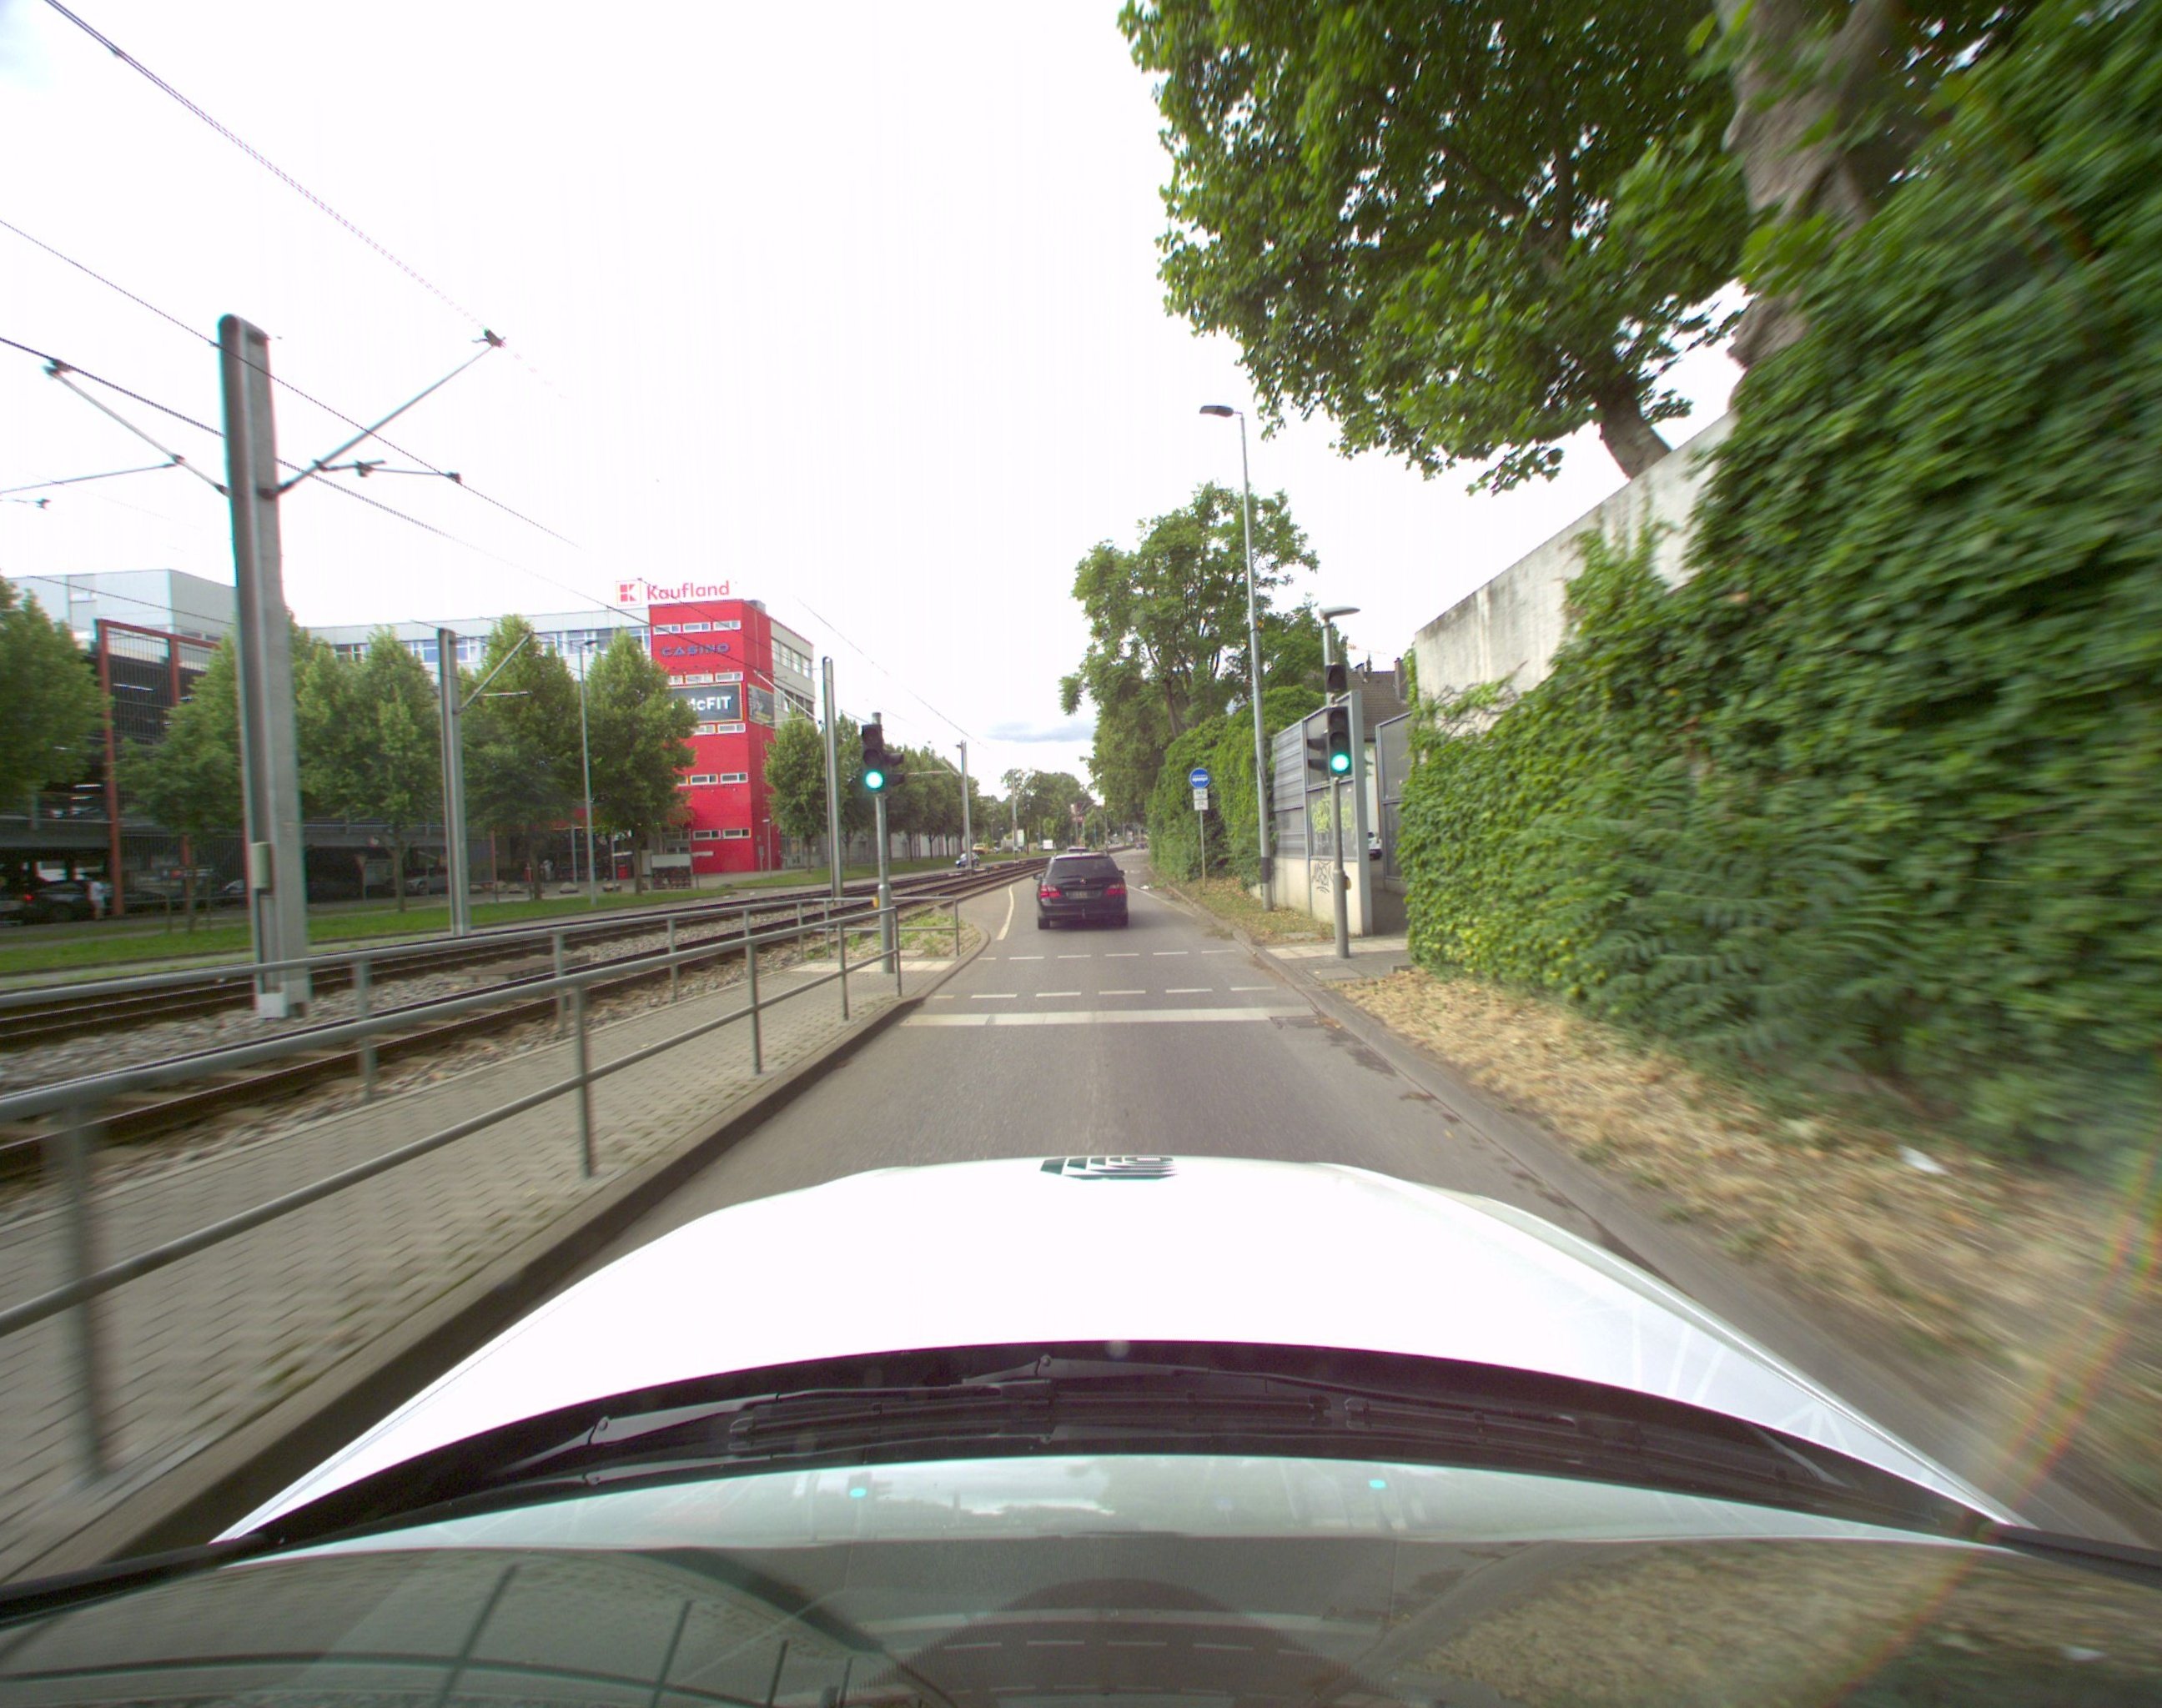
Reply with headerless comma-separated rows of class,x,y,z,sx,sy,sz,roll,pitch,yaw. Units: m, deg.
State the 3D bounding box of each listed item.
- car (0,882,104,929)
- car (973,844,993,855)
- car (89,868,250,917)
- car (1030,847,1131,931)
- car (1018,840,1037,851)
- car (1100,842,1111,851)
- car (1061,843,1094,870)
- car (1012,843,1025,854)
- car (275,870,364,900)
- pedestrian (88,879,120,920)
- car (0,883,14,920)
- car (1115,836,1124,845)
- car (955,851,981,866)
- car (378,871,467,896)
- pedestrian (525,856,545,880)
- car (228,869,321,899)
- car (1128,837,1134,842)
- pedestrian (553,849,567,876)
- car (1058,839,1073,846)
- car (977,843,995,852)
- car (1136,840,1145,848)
car,-38.267,1.882,29.276,1.666,1.476,3.678,-2,1,2
car,-15.658,-0.738,130.433,1.983,1.743,4.997,-3,1,6
car,-41.372,1.687,37.187,1.666,1.888,4.872,-2,1,3
car,0.115,0.627,17.256,1.825,1.478,4.420,-2,1,3
car,-11.812,-1.838,181.333,3.978,2.123,1.998,-4,0,-3
car,4.461,-1.322,149.964,1.817,1.530,3.991,-2,1,4
car,-0.148,0.120,50.135,1.818,1.530,4.418,-2,1,2
car,-12.377,-1.133,161.314,1.986,2.013,4.002,-4,0,2
car,-45.595,1.822,48.850,1.762,1.552,3.641,-4,0,0
pedestrian,-36.935,1.716,30.789,0.419,1.506,0.615,-2,1,3
car,-44.234,1.956,31.220,1.666,1.476,3.678,-2,1,2
car,9.158,-3.245,194.853,1.884,2.013,3.901,-4,0,3
car,-11.320,0.434,81.844,1.650,1.393,3.727,-2,1,7
car,-38.588,1.724,47.899,1.449,1.226,4.453,-2,0,2
pedestrian,-40.114,1.003,59.875,0.734,1.694,0.867,-4,0,2
car,-47.949,1.766,48.512,1.668,1.552,3.811,-2,1,0
car,14.252,-4.133,232.297,1.817,1.530,4.184,-2,1,4
pedestrian,-40.741,0.670,63.674,0.598,2.013,0.554,-4,0,4
car,-4.127,-2.947,213.492,3.687,1.815,1.792,-2,1,-6
car,-21.648,-1.427,185.598,3.991,1.680,1.991,-4,0,-13
car,12.391,-2.049,169.166,1.817,1.530,4.421,-2,1,4
